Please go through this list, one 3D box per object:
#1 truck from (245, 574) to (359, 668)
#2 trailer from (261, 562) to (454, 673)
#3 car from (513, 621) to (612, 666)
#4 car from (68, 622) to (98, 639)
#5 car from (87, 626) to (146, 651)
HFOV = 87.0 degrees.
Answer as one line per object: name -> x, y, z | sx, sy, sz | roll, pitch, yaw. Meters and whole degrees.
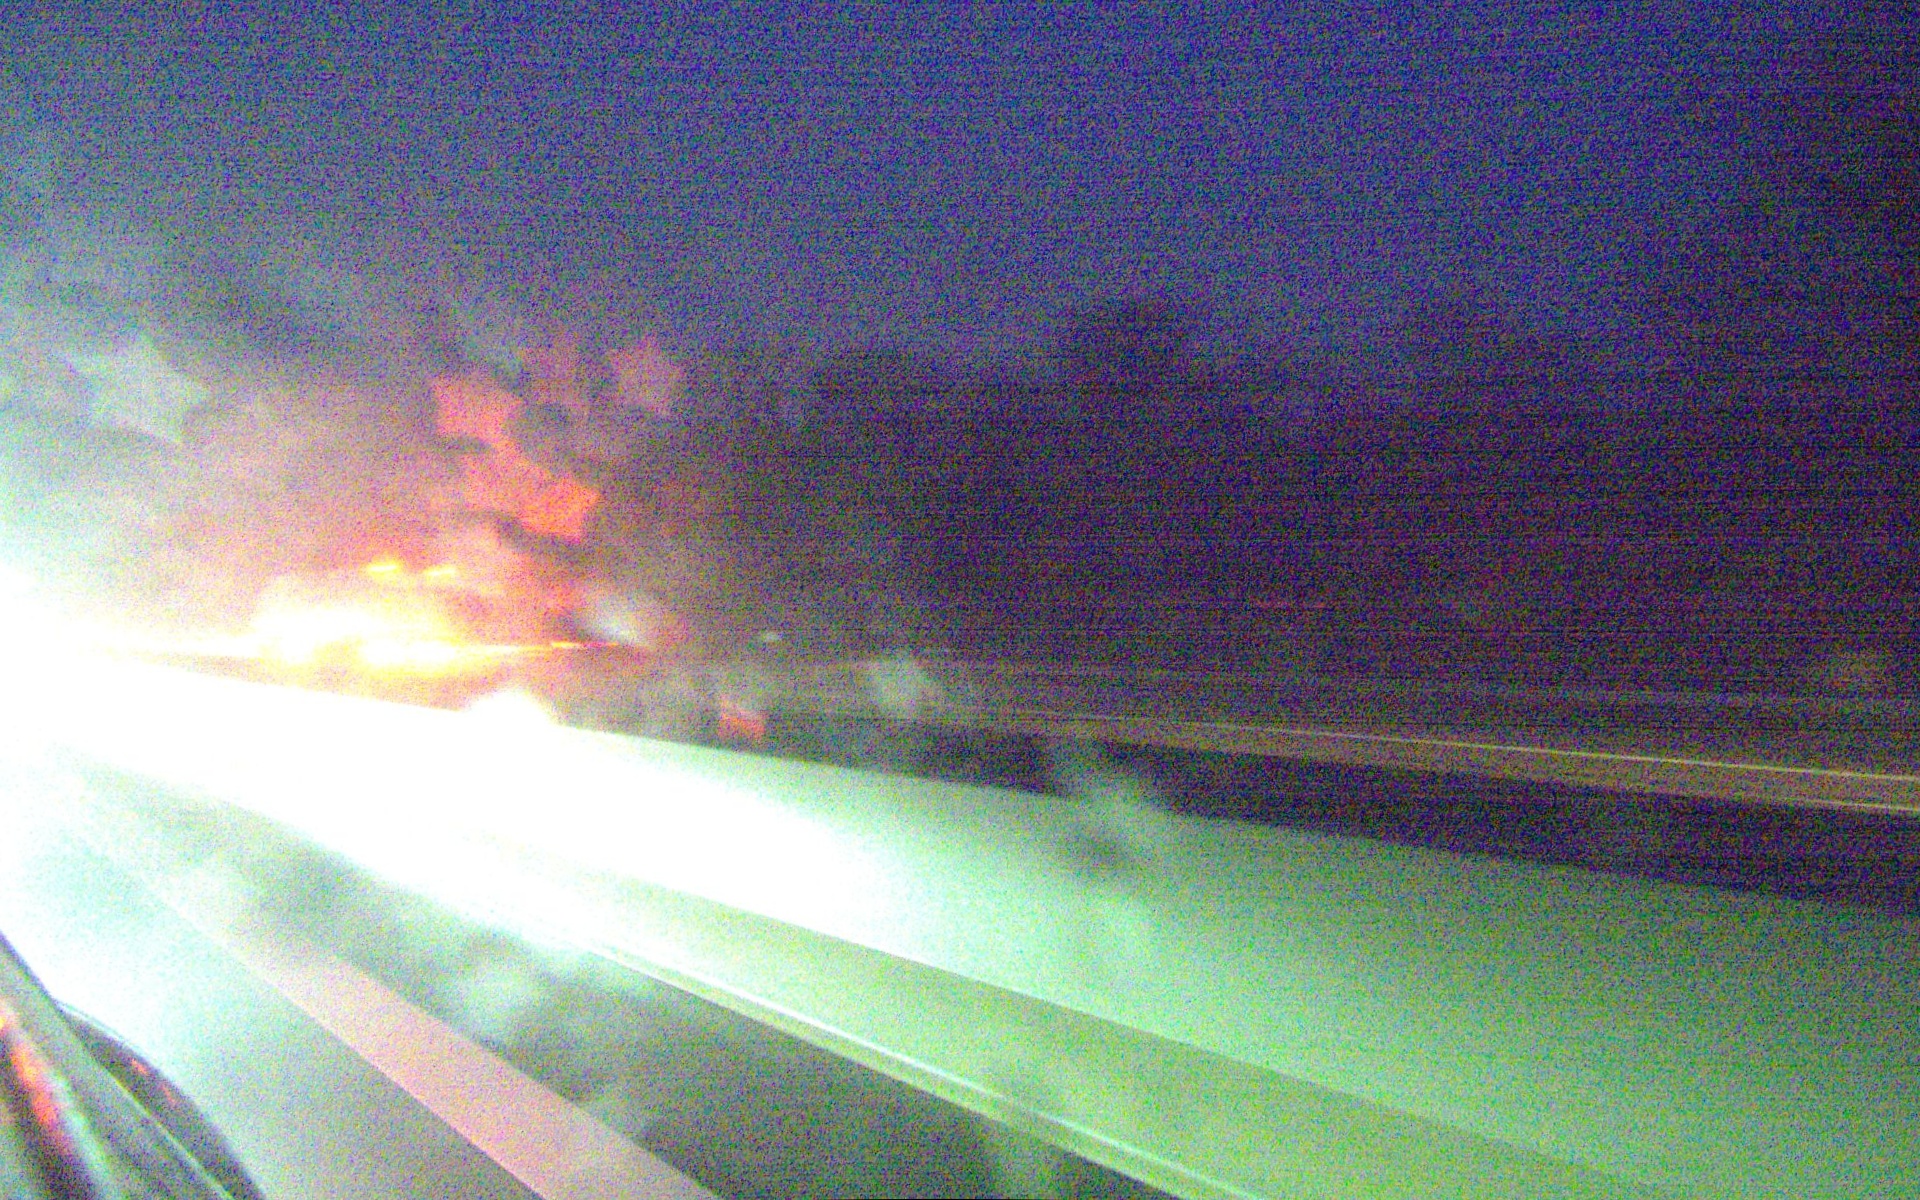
truck -> -32.440, 1.104, 49.833 | 6.080, 4.326, 3.022 | -2, -3, 41
trailer -> -27.336, 0.902, 45.361 | 14.401, 4.326, 3.016 | -2, -4, 41
car -> -18.023, 1.946, 45.763 | 4.787, 1.907, 2.191 | -2, -3, 41
car -> -106.210, 3.681, 122.598 | 5.383, 1.963, 1.973 | -2, -3, 41
car -> -48.720, 2.219, 58.448 | 3.998, 1.431, 1.973 | -2, -3, 41
